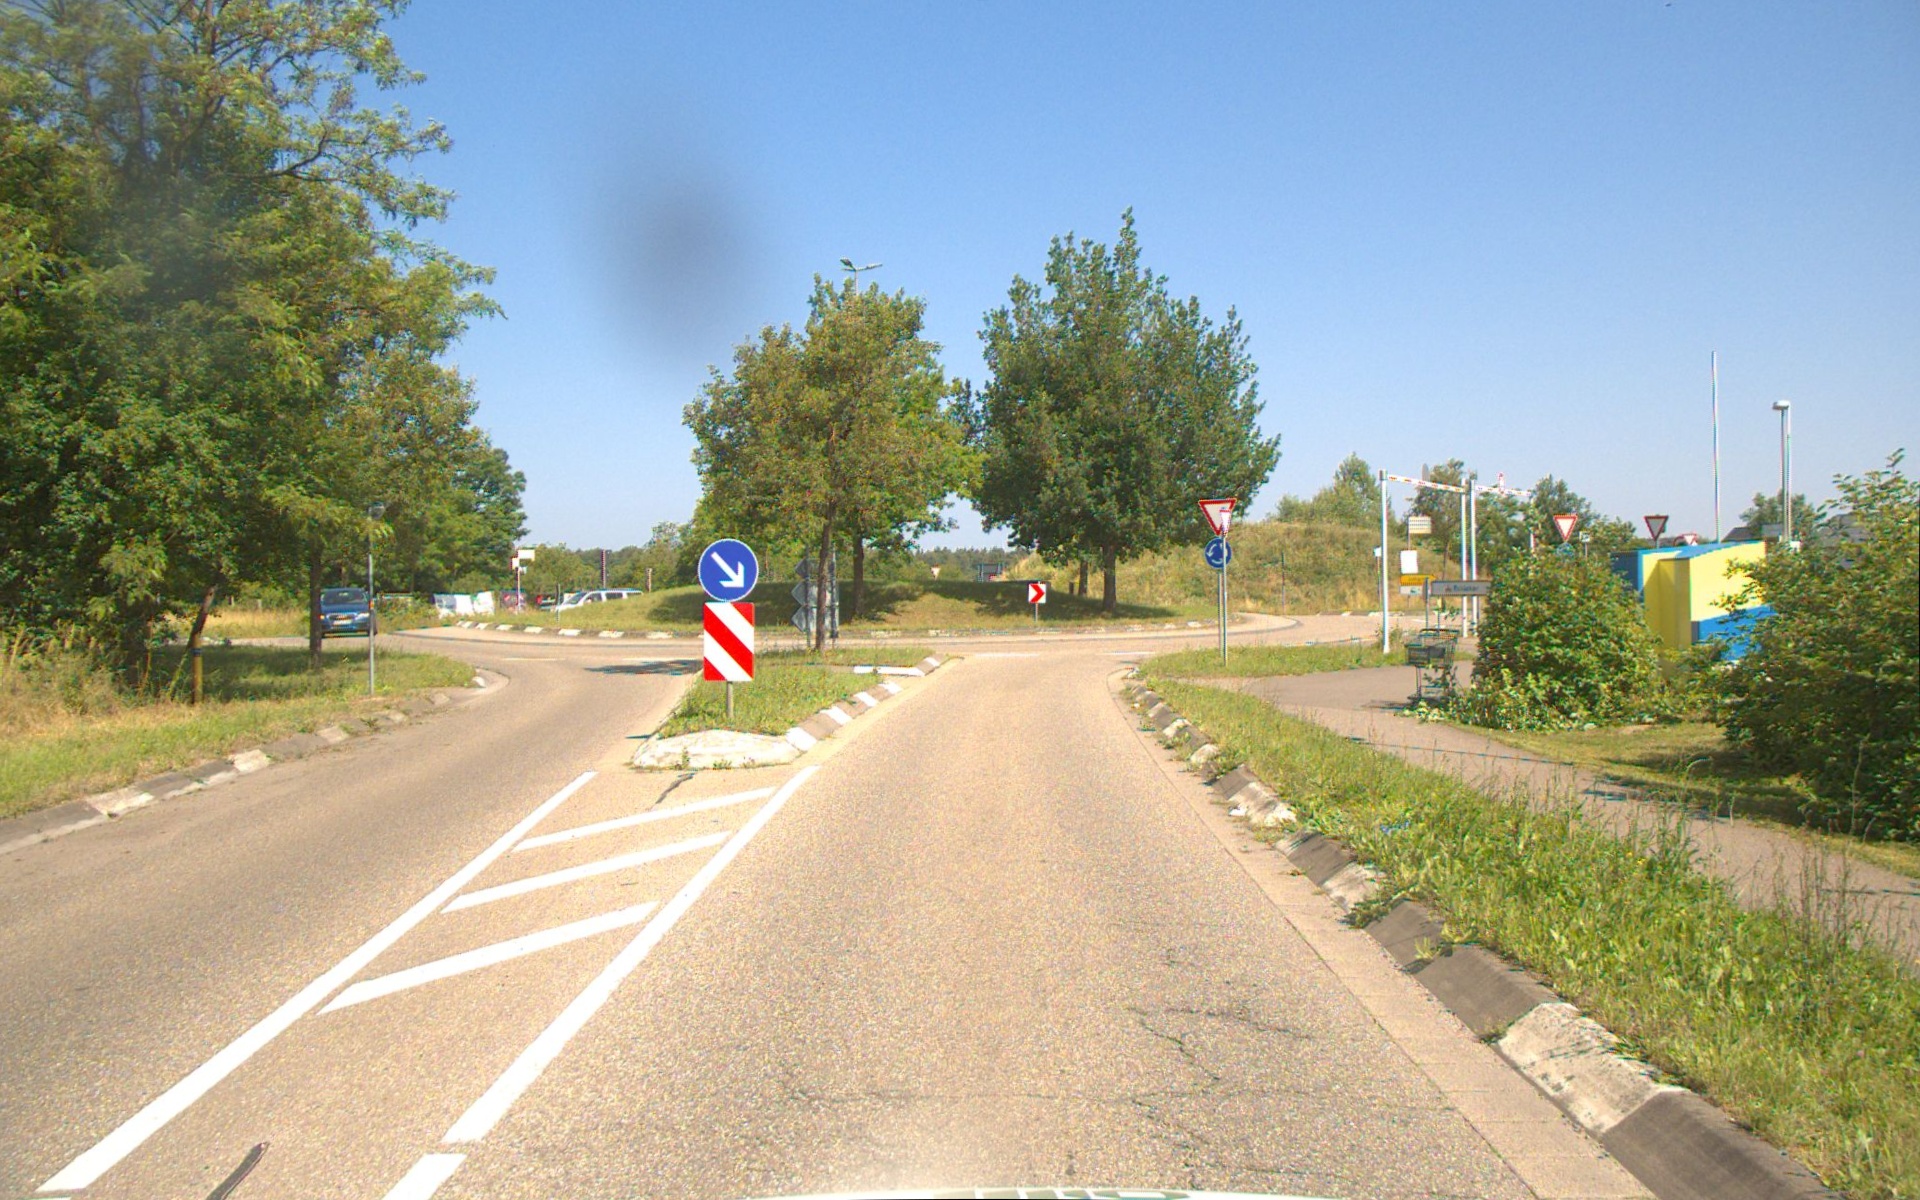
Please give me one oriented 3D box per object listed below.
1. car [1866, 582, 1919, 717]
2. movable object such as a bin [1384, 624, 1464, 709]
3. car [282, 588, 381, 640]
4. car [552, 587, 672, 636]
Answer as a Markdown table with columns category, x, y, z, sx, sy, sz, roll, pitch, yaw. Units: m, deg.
| category | x | y | z | sx | sy | sz | roll | pitch | yaw |
| --- | --- | --- | --- | --- | --- | --- | --- | --- | --- |
| car | 13.189 | 0.546 | 19.937 | 3.522 | 1.589 | 1.813 | -2 | 1 | -3 |
| movable object such as a bin | 6.686 | 0.937 | 23.811 | 0.851 | 1.140 | 1.454 | 0 | 0 | 27 |
| car | -18.748 | 0.401 | 49.254 | 1.816 | 1.411 | 4.372 | -2 | 1 | -33 |
| car | -14.311 | 0.457 | 68.199 | 4.562 | 1.847 | 1.868 | -2 | 0 | -45 |
